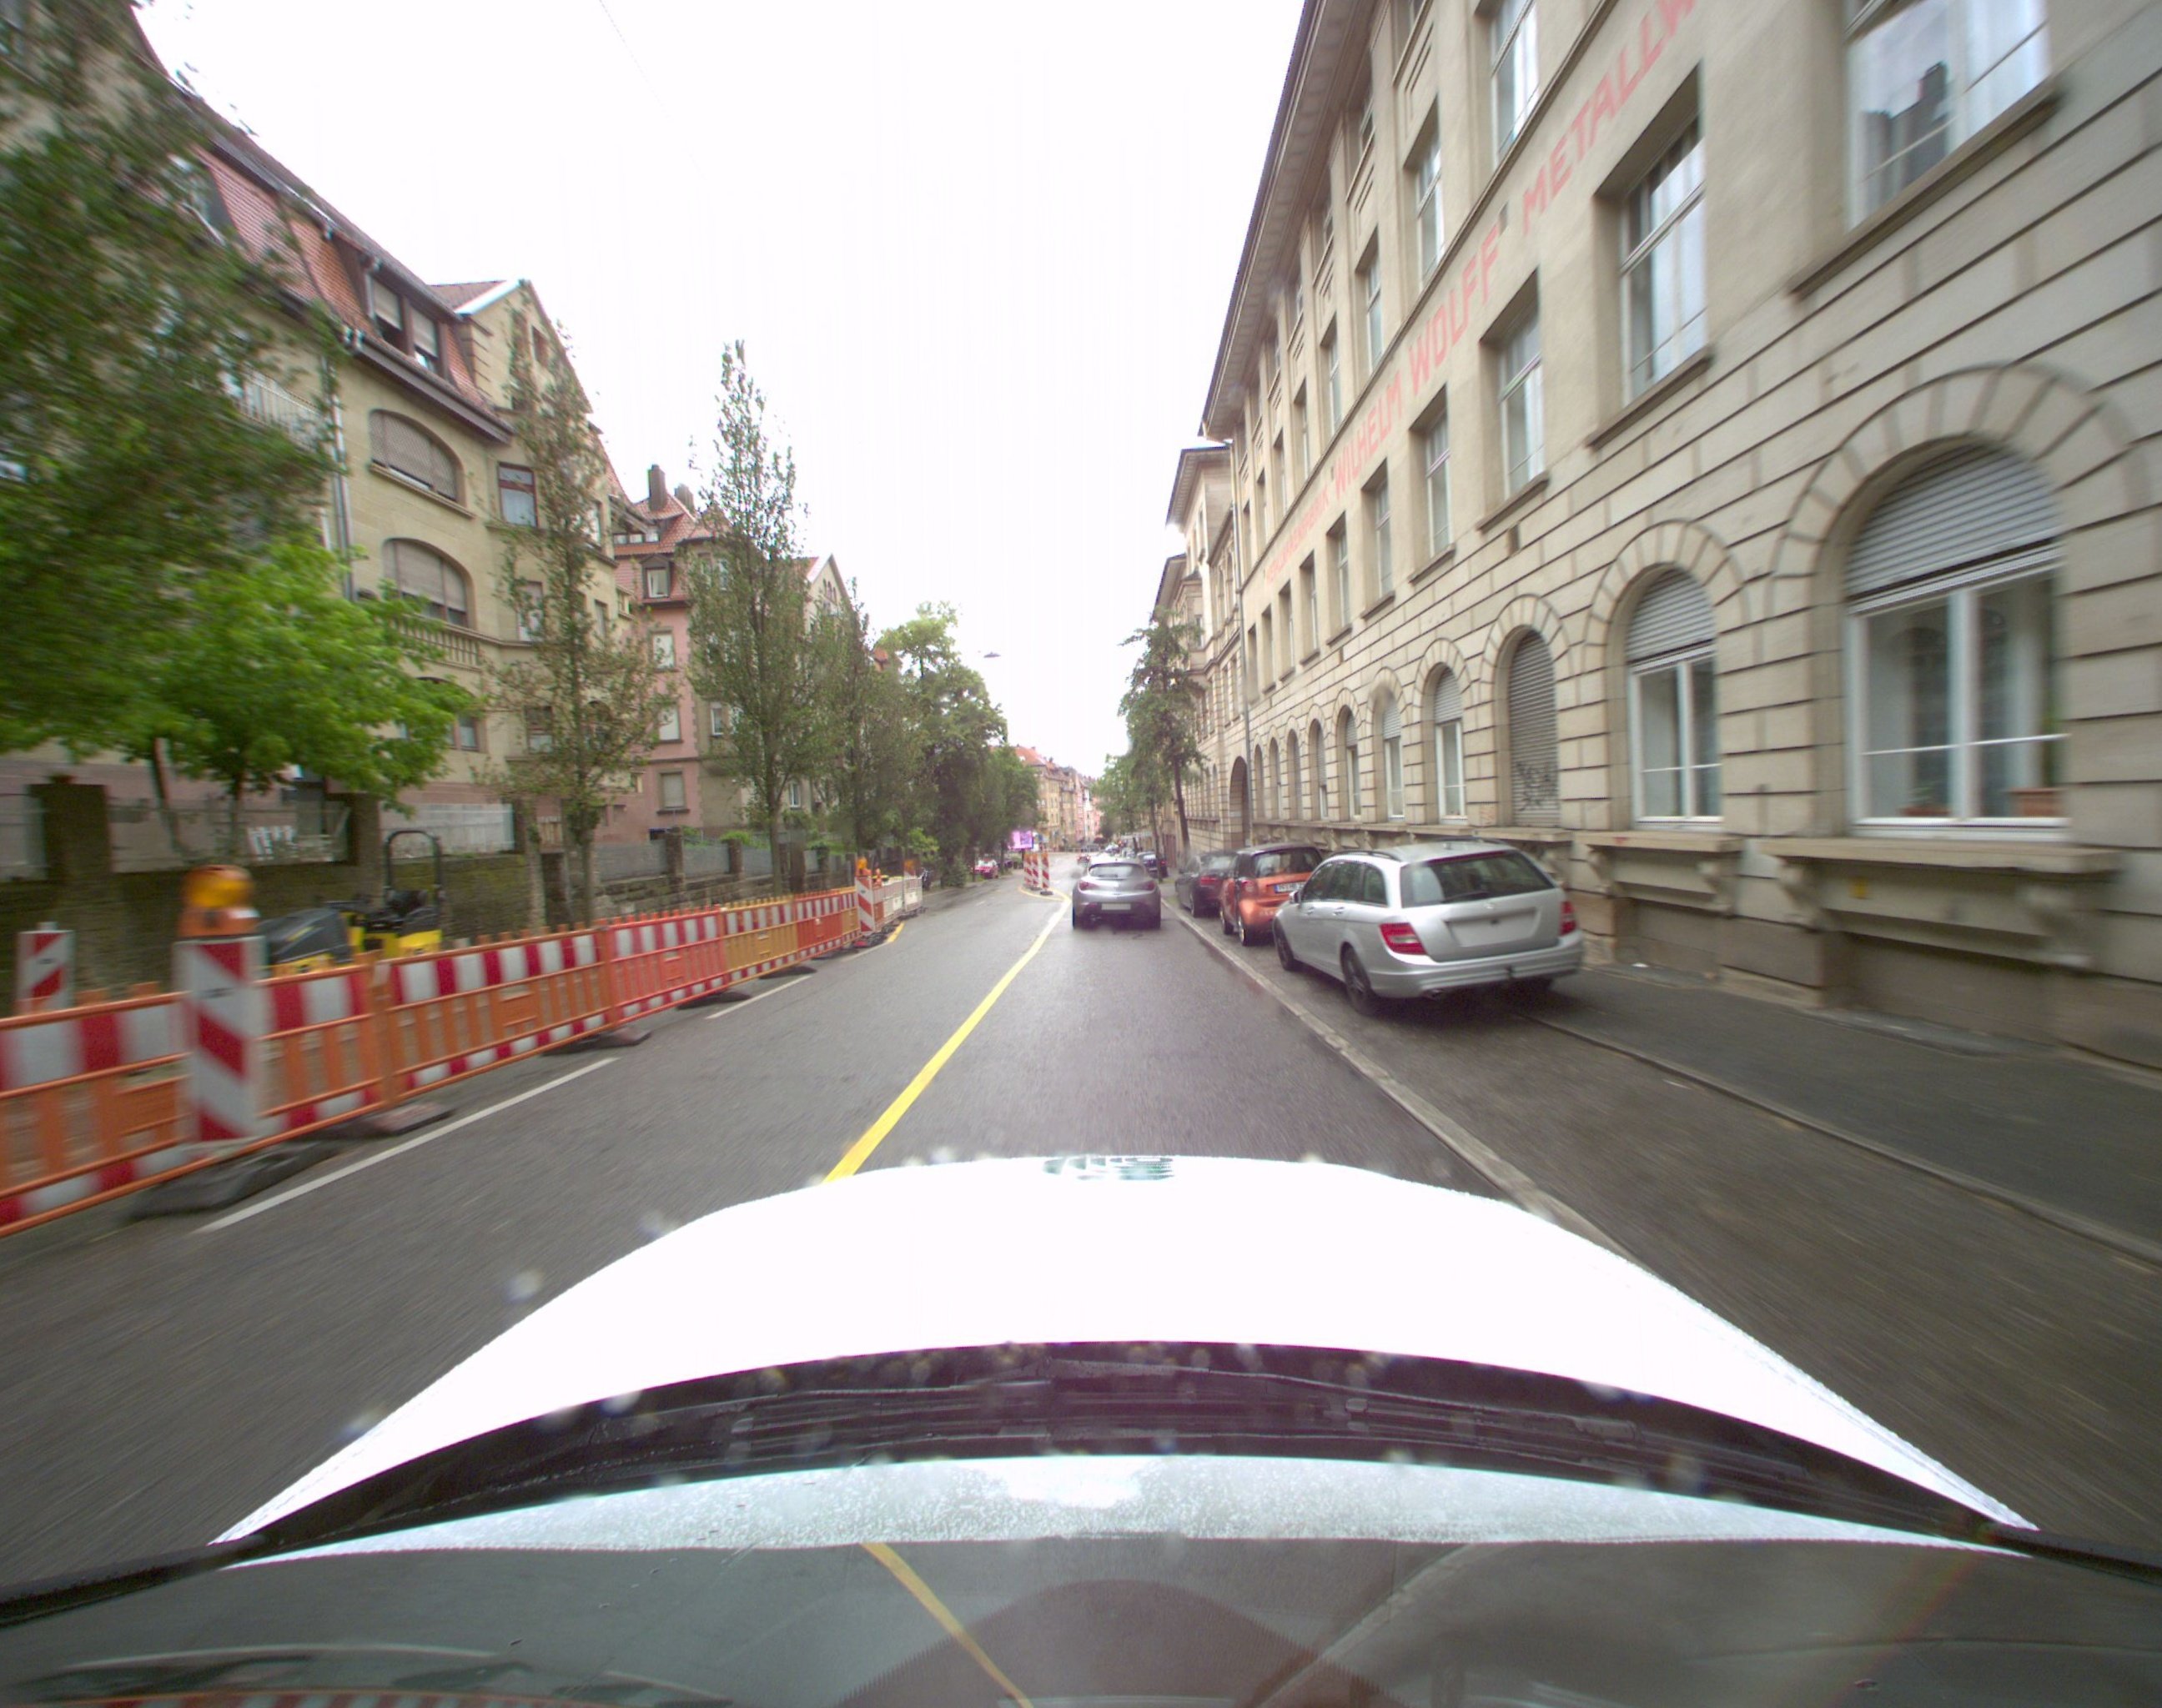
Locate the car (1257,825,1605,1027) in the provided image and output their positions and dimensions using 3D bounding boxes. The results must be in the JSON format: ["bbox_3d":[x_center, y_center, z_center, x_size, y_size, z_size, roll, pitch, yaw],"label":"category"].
[{"bbox_3d":[3.222,0.548,8.589,1.689,1.431,4.422,-5,0,0],"label":"car"}]

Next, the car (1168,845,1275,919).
[{"bbox_3d":[3.307,0.591,20.037,1.752,1.461,4.724,-5,0,0],"label":"car"}]

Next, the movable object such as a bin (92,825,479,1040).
[{"bbox_3d":[-9.890,0.860,10.443,1.984,2.299,2.819,-3,0,5],"label":"movable object such as a bin"}]

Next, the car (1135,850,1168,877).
[{"bbox_3d":[4.001,0.505,46.675,1.631,1.429,3.377,-3,0,1],"label":"car"}]

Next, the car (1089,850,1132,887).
[{"bbox_3d":[1.309,0.595,36.151,1.765,1.504,3.870,-1,1,1],"label":"car"}]

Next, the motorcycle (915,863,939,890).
[{"bbox_3d":[-8.030,1.157,42.545,0.762,1.346,2.204,-1,-1,1],"label":"motorcycle"}]

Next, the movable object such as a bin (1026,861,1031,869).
[{"bbox_3d":[-6.797,1.369,104.816,0.657,1.058,0.626,0,0,-7],"label":"movable object such as a bin"}]

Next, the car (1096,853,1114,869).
[{"bbox_3d":[2.451,0.711,83.282,1.651,1.543,3.664,-4,0,0],"label":"car"}]

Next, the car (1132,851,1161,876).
[{"bbox_3d":[4.123,0.574,51.789,1.631,1.469,3.859,-3,0,2],"label":"car"}]

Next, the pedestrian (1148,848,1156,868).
[{"bbox_3d":[6.716,0.371,77.057,0.713,1.870,0.636,-1,-1,1],"label":"pedestrian"}]

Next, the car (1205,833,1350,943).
[{"bbox_3d":[3.238,0.508,13.999,1.633,1.520,3.183,-5,0,0],"label":"car"}]

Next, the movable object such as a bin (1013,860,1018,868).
[{"bbox_3d":[-8.357,1.280,103.816,0.624,1.058,0.633,0,0,-5],"label":"movable object such as a bin"}]

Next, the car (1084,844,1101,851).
[{"bbox_3d":[2.722,-1.522,195.424,3.972,1.750,2.000,0,0,1],"label":"car"}]

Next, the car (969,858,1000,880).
[{"bbox_3d":[-7.170,1.079,60.931,1.631,1.439,4.081,-3,0,2],"label":"car"}]

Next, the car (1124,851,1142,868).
[{"bbox_3d":[5.157,0.562,81.381,1.631,1.524,3.859,-3,0,2],"label":"car"}]

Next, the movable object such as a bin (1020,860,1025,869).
[{"bbox_3d":[-7.414,1.331,103.729,0.624,1.058,0.719,0,0,-5],"label":"movable object such as a bin"}]

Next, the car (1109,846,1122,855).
[{"bbox_3d":[6.827,-0.722,162.038,1.980,1.684,4.013,0,0,12],"label":"car"}]

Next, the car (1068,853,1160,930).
[{"bbox_3d":[0.736,0.745,18.052,1.804,1.449,3.871,-1,1,2],"label":"car"}]

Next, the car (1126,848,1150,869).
[{"bbox_3d":[4.624,0.375,66.623,1.632,1.602,3.856,-3,0,-1],"label":"car"}]

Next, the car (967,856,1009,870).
[{"bbox_3d":[-10.194,1.009,89.611,4.321,1.243,1.633,-3,0,-18],"label":"car"}]

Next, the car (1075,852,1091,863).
[{"bbox_3d":[0.338,0.456,113.185,1.986,1.500,4.002,-2,0,2],"label":"car"}]

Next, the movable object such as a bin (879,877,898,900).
[{"bbox_3d":[-7.849,1.389,33.288,0.601,0.907,0.624,-1,0,2],"label":"movable object such as a bin"}]

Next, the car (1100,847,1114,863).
[{"bbox_3d":[3.133,0.126,97.927,1.650,1.782,3.667,-1,0,2],"label":"car"}]

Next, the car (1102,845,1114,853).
[{"bbox_3d":[5.757,-1.019,174.264,1.980,1.684,4.013,0,0,12],"label":"car"}]

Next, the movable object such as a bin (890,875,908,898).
[{"bbox_3d":[-7.738,1.384,34.711,0.601,0.907,0.624,-1,0,2],"label":"movable object such as a bin"}]

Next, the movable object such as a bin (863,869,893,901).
[{"bbox_3d":[-8.045,1.228,32.339,0.941,1.214,0.857,-1,0,2],"label":"movable object such as a bin"}]
